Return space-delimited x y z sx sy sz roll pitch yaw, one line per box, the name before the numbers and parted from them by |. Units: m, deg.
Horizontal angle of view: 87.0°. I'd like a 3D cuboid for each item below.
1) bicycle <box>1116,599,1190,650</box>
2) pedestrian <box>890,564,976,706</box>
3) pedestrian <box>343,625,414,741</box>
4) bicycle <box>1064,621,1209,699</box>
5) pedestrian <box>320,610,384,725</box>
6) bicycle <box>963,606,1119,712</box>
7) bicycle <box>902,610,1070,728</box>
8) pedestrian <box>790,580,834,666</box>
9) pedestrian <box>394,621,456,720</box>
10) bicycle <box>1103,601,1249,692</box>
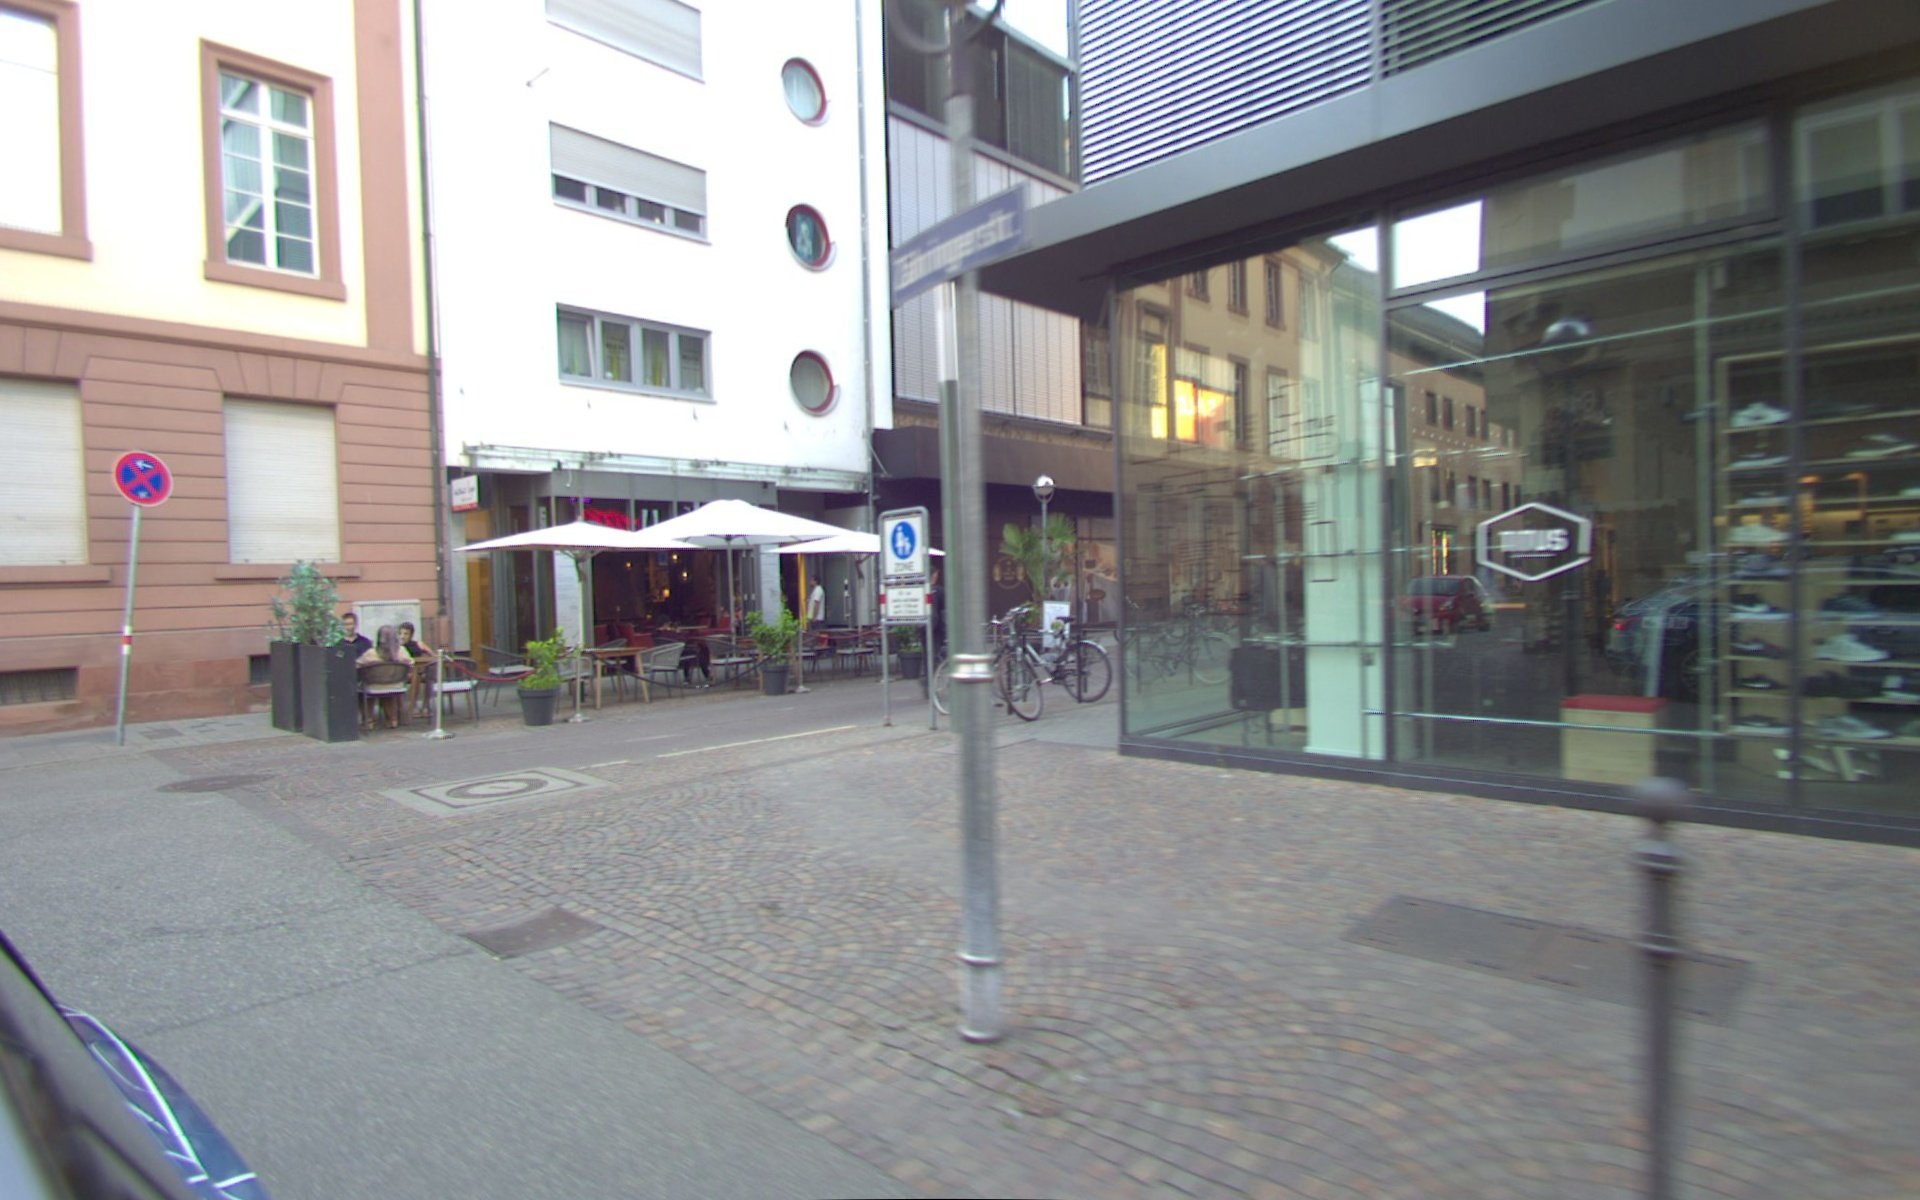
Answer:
bicycle | 4.279 0.540 22.526 1.542 1.093 0.541 -1 1 42
pedestrian | -0.341 0.438 13.340 0.736 1.798 0.961 -2 0 25
pedestrian | -6.445 0.903 11.219 0.554 1.221 0.461 -2 1 -45
bicycle | 2.172 0.746 12.633 1.793 0.902 0.448 -3 -1 42
pedestrian | -7.469 0.813 12.438 0.541 1.359 0.489 -2 1 -45
bicycle | 0.937 0.691 12.102 1.841 1.159 0.601 -3 -1 42
bicycle | 0.252 0.711 10.673 1.673 1.121 0.699 -3 -1 42
pedestrian | -2.969 0.451 20.299 0.619 1.678 0.667 -2 0 16
pedestrian | -6.885 0.888 13.021 0.541 1.220 0.524 -2 1 -45
bicycle | 2.932 0.635 13.907 1.911 1.153 0.549 -3 0 42
